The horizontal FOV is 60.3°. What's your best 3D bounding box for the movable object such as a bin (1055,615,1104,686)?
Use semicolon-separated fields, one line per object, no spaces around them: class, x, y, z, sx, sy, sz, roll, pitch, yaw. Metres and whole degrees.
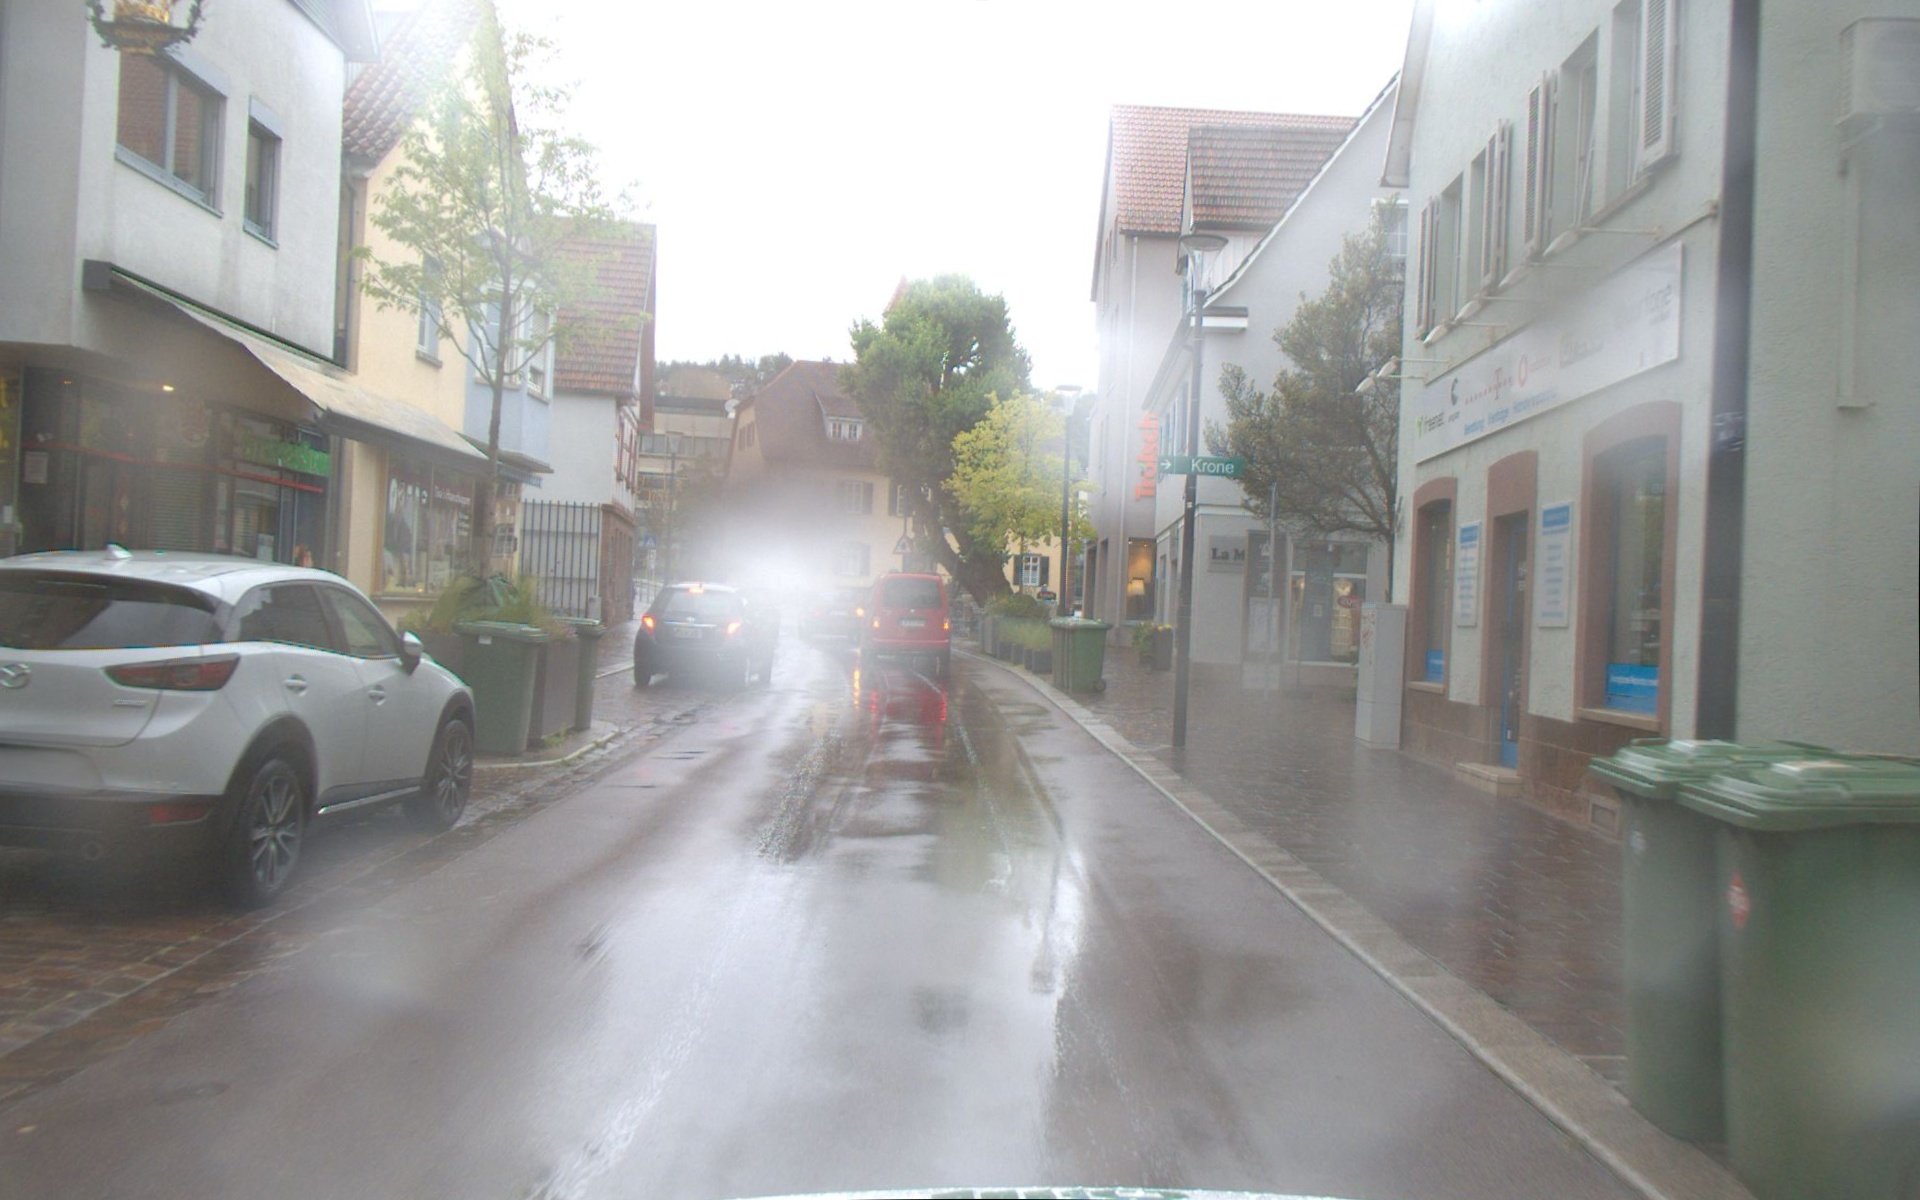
movable object such as a bin;1.958;0.822;27.103;0.714;1.110;0.521;3;-2;0

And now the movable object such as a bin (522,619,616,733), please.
movable object such as a bin;-3.856;0.744;16.350;0.695;1.071;0.704;3;-2;0

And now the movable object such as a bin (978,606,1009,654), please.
movable object such as a bin;0.816;0.741;40.745;0.620;1.123;0.578;3;-2;-9

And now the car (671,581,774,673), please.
car;-4.467;0.462;31.263;1.723;1.499;3.937;4;1;-8

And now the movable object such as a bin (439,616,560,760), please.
movable object such as a bin;-3.854;0.725;13.876;0.771;1.103;0.693;4;1;-2

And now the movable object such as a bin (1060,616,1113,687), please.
movable object such as a bin;2.019;0.817;26.484;0.739;1.082;0.600;3;-2;0

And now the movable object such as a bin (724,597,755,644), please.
movable object such as a bin;-5.519;0.510;41.390;0.712;1.129;0.595;3;-2;-9

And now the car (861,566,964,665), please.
car;-1.068;0.264;35.102;1.857;1.842;3.996;4;1;-5

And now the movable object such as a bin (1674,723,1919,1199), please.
movable object such as a bin;2.323;0.888;4.133;0.777;1.099;0.614;2;-1;-4

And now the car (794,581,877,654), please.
car;-3.514;0.500;46.209;1.956;1.831;3.992;3;-1;-8

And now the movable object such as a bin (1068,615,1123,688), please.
movable object such as a bin;2.114;0.802;25.853;0.752;1.098;0.599;3;-2;0

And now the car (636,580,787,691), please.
car;-3.720;0.482;25.357;1.657;1.468;3.884;3;1;0

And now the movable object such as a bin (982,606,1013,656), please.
movable object such as a bin;0.908;0.745;40.175;0.620;1.170;0.578;3;-2;-9

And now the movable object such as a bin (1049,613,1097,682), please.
movable object such as a bin;1.937;0.810;28.315;0.720;1.117;0.611;3;-2;-1

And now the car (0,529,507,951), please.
car;-3.761;0.492;8.474;1.657;1.565;4.121;4;1;0

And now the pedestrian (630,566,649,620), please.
pedestrian;-10.614;-0.237;54.786;0.509;1.741;0.577;3;-2;-9

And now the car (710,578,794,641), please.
car;-5.764;0.223;45.514;1.758;1.521;3.986;4;0;-14

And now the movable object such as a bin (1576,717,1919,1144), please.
movable object such as a bin;2.289;0.915;4.756;0.780;1.099;0.582;2;-1;-4

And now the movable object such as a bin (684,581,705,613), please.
movable object such as a bin;-9.738;-0.099;60.603;0.701;1.125;0.598;3;-2;-11

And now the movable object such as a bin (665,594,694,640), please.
movable object such as a bin;-7.071;0.433;41.723;0.647;1.129;0.614;3;-2;-9

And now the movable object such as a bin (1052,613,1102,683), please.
movable object such as a bin;1.956;0.802;27.712;0.720;1.117;0.611;3;-2;-1
